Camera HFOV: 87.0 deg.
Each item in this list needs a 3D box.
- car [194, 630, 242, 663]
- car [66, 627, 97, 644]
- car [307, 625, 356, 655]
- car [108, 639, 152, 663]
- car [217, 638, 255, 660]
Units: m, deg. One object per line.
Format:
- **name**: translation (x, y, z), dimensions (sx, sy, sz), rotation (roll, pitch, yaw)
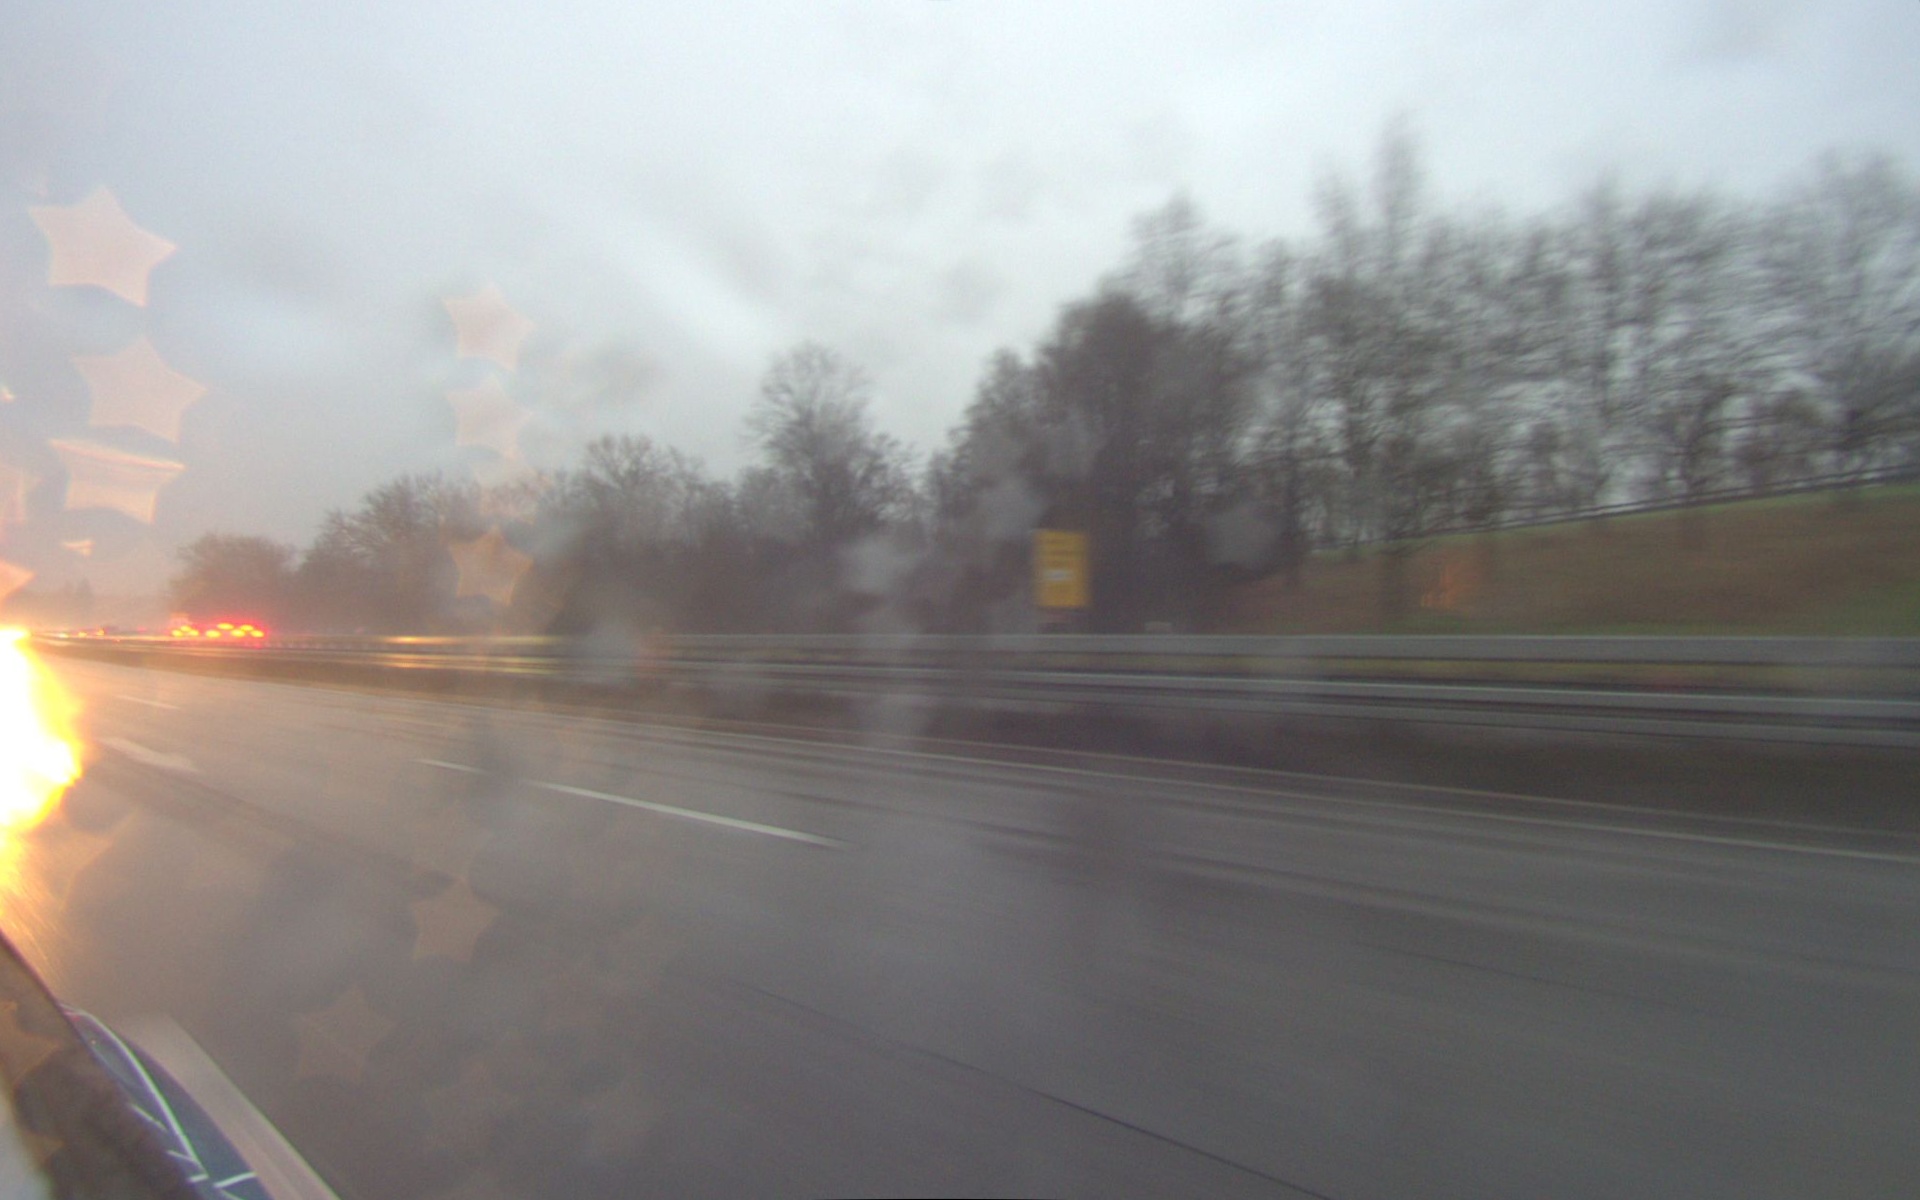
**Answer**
- **car**: translation (-51.006, 3.187, 69.542), dimensions (4.000, 2.029, 1.972), rotation (0, 1, 43)
- **car**: translation (-85.145, 3.416, 98.070), dimensions (3.842, 1.386, 1.759), rotation (0, 1, 42)
- **car**: translation (-44.738, 2.858, 72.013), dimensions (4.000, 2.029, 1.972), rotation (-3, -2, 43)
- **car**: translation (-61.140, 3.743, 74.550), dimensions (4.380, 1.697, 1.855), rotation (-3, -4, 42)
- **car**: translation (-57.720, 3.895, 80.641), dimensions (4.204, 1.647, 1.665), rotation (-1, -2, 43)
